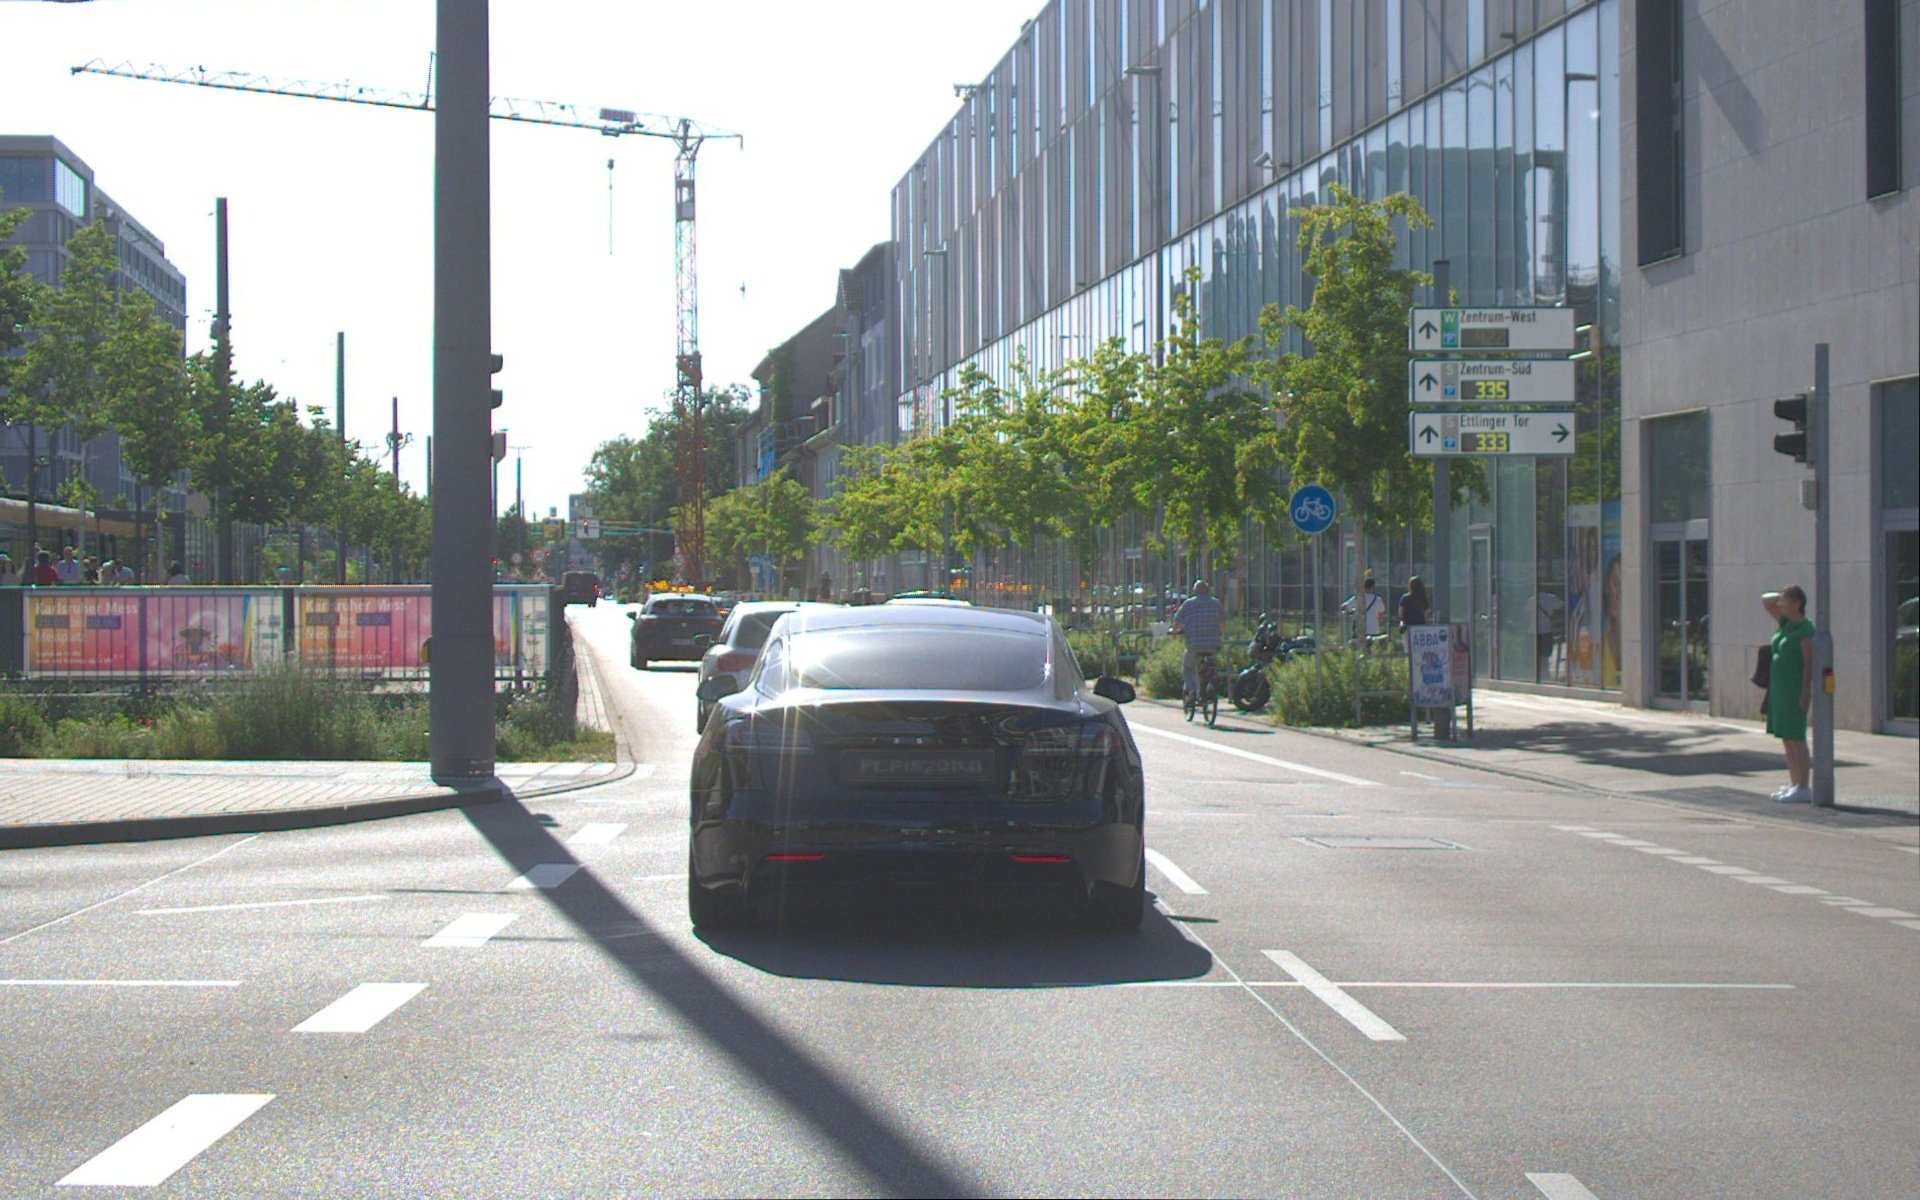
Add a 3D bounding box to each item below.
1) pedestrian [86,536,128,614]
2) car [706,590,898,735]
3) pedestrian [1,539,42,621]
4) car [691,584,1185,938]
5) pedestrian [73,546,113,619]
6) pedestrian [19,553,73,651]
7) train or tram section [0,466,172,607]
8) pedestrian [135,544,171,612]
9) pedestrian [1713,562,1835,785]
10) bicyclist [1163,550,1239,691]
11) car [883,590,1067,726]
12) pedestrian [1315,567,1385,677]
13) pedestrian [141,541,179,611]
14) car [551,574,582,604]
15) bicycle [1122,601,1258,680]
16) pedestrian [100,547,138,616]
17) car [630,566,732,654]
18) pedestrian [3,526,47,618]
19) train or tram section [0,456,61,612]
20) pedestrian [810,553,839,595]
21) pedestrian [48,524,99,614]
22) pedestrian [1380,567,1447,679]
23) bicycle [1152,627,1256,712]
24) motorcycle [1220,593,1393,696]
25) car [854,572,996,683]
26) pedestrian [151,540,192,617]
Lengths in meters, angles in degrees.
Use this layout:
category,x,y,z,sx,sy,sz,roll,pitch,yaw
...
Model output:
category,x,y,z,sx,sy,sz,roll,pitch,yaw
pedestrian,-18.027,-0.528,72.675,0.741,1.623,0.862,0,0,-5
car,-1.647,0.595,34.678,1.716,1.315,4.001,0,1,-6
pedestrian,-17.439,-0.373,63.869,0.647,1.507,0.588,2,1,-9
car,-0.258,0.661,16.242,1.999,1.429,4.413,1,0,-5
pedestrian,-19.424,-0.387,77.036,0.741,1.623,0.862,0,0,-5
pedestrian,-15.198,0.033,57.177,0.741,1.623,0.862,0,0,-5
train or tram section,-23.808,-1.645,91.664,2.870,3.268,22.148,2,0,-6
pedestrian,-19.578,-0.532,83.378,0.741,1.623,0.862,0,0,-5
pedestrian,6.392,0.563,27.012,0.657,1.696,0.698,-3,1,-8
bicyclist,2.989,0.244,42.668,0.724,1.731,0.998,0,0,-10
car,0.122,0.637,39.803,1.716,1.427,4.001,0,1,-6
pedestrian,5.916,0.329,52.186,0.820,1.652,0.900,0,0,-10
pedestrian,-18.572,-0.553,79.812,0.741,1.623,0.947,0,0,-5
car,-24.703,-0.709,215.950,1.813,1.803,4.039,0,1,-5
bicycle,3.659,0.642,54.843,2.085,1.201,0.950,-1,0,0
pedestrian,-19.670,-0.436,80.404,0.741,1.623,0.862,0,0,-5
car,-5.321,0.169,65.934,1.888,1.590,4.001,0,1,-4
pedestrian,-18.619,-0.559,68.472,0.671,1.804,1.075,0,0,-7
train or tram section,-21.753,-1.439,73.123,2.870,3.268,15.188,2,0,-6
pedestrian,-5.921,-1.139,150.229,1.095,1.857,1.523,0,1,-8
pedestrian,-18.350,-0.635,71.185,0.886,1.844,1.007,0,0,-6
pedestrian,6.869,0.340,52.101,0.706,1.652,0.900,-2,1,-10
bicycle,3.015,0.847,42.668,0.728,0.980,2.334,1,0,-10
motorcycle,4.630,0.590,46.030,2.189,1.319,0.903,-1,0,-2
car,-0.564,0.383,51.117,1.784,1.540,4.039,0,1,-5
pedestrian,-16.853,-0.463,73.466,0.741,1.623,0.862,0,0,-5
